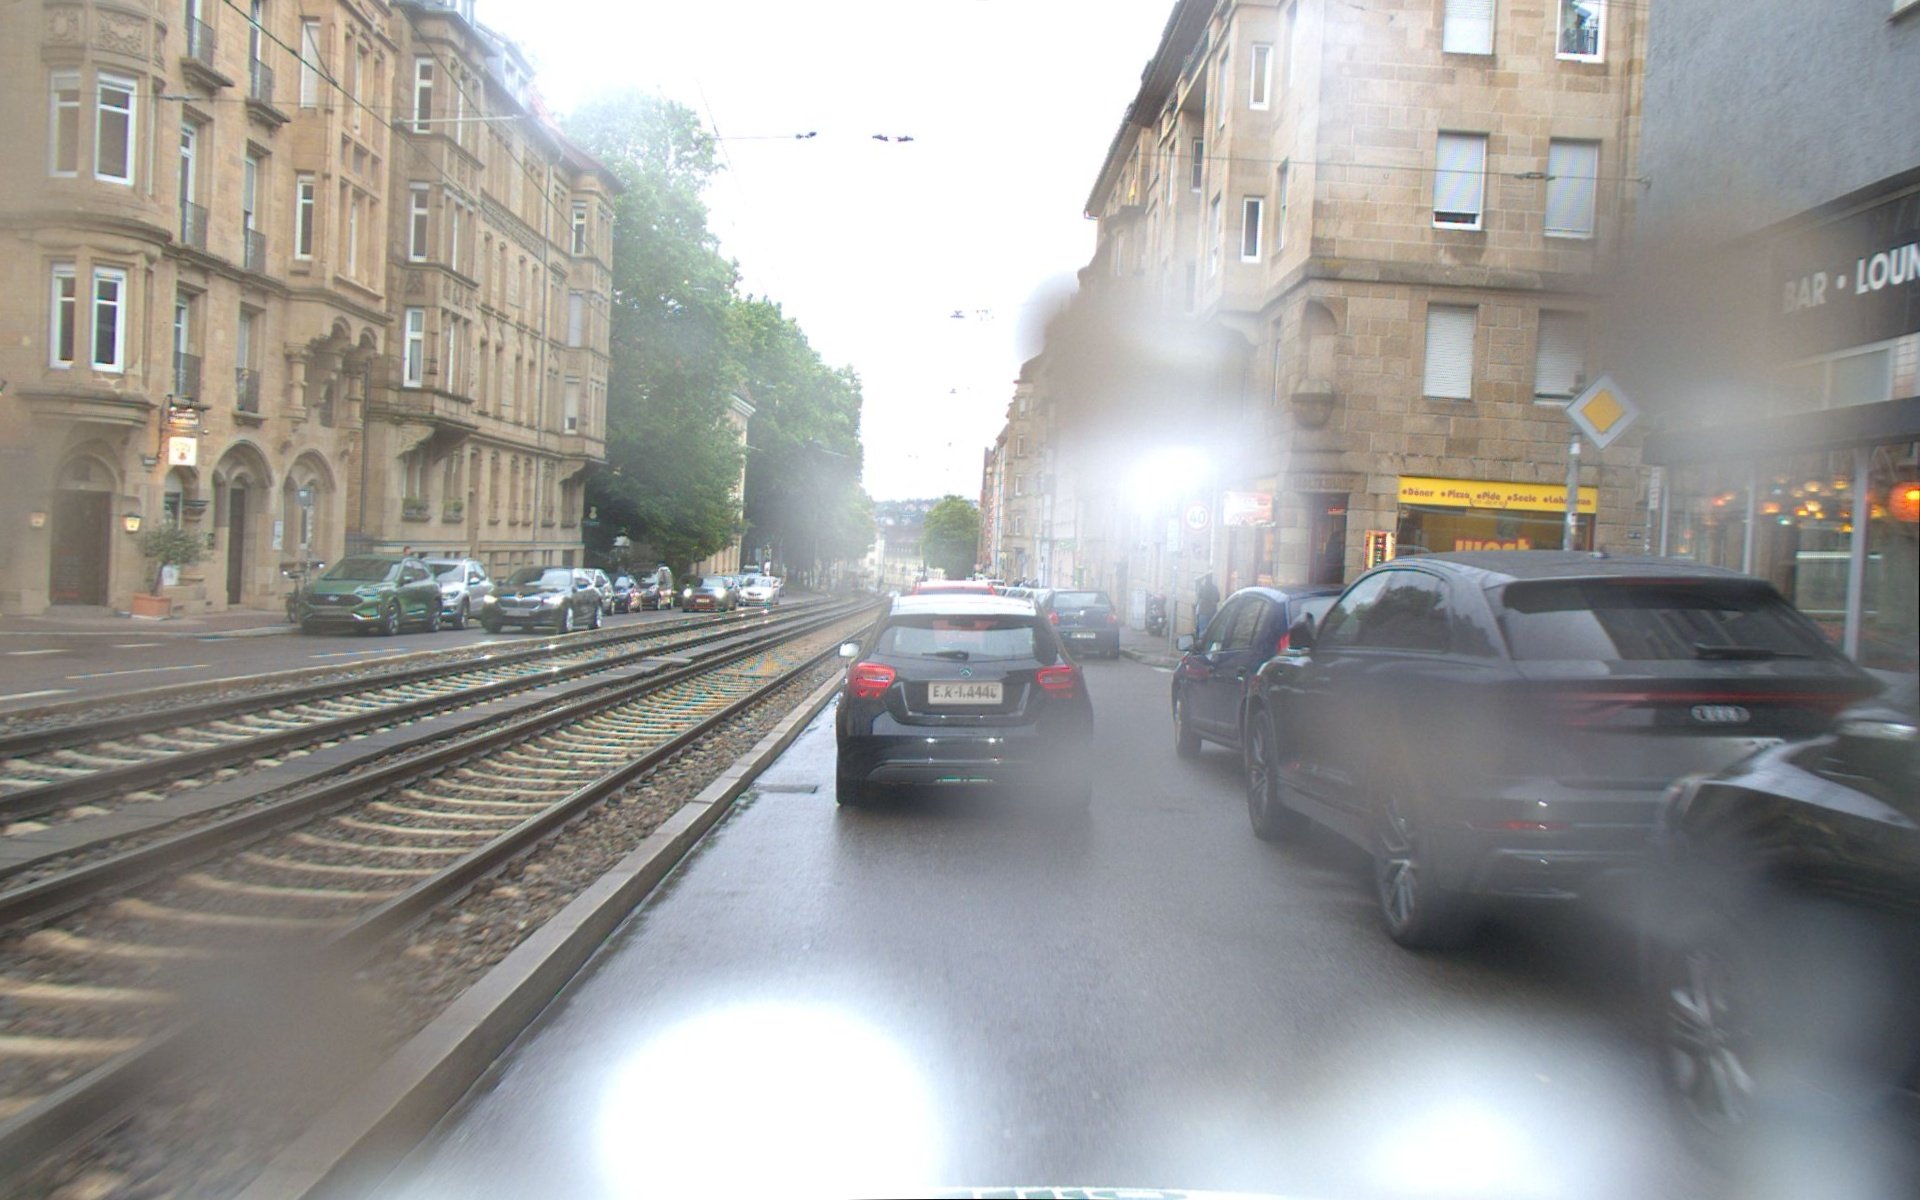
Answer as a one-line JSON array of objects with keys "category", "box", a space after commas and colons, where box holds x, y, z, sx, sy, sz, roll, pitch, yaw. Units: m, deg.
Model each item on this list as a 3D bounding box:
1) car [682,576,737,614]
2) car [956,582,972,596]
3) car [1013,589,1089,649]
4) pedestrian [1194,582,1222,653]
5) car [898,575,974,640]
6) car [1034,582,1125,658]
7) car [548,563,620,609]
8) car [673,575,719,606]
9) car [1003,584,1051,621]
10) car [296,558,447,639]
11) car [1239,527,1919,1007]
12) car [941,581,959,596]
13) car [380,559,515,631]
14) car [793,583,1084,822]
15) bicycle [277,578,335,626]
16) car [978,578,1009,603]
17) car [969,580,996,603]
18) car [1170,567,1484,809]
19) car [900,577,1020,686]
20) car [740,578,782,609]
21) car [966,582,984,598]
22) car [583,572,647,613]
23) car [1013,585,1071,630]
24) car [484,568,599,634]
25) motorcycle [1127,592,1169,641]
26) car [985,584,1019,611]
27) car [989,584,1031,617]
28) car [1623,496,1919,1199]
[{"category": "car", "box": [-9.768, -0.199, 64.733, 1.537, 1.438, 3.482, 1, 1, 1]}, {"category": "car", "box": [0.379, -1.155, 172.183, 1.580, 1.340, 4.000, 1, 1, -1]}, {"category": "car", "box": [2.174, 0.427, 40.491, 1.580, 1.340, 4.000, 1, 1, -1]}, {"category": "pedestrian", "box": [5.279, 0.368, 35.256, 0.445, 1.492, 0.610, 2, 0, -1]}, {"category": "car", "box": [-0.527, 0.134, 37.035, 1.580, 1.340, 4.000, 1, 1, -1]}, {"category": "car", "box": [2.505, 0.378, 35.321, 1.589, 1.510, 4.000, 1, 1, -1]}, {"category": "car", "box": [-12.558, -0.471, 55.356, 1.537, 1.438, 3.482, 1, 1, 1]}, {"category": "car", "box": [-12.655, -0.474, 79.423, 1.537, 1.438, 3.482, 1, 1, 1]}, {"category": "car", "box": [2.494, 0.068, 62.091, 1.580, 1.340, 4.000, 1, 1, -1]}, {"category": "car", "box": [-12.314, -0.049, 34.863, 1.687, 1.568, 3.934, 1, 1, 1]}, {"category": "car", "box": [2.691, 0.578, 8.294, 1.714, 1.699, 4.703, 1, 1, -1]}, {"category": "car", "box": [-0.923, -1.042, 148.950, 1.580, 1.340, 4.000, 1, 1, -1]}, {"category": "car", "box": [-12.354, -0.141, 40.163, 1.769, 1.624, 4.526, 1, 1, 1]}, {"category": "car", "box": [-0.103, 0.628, 12.467, 1.828, 1.477, 4.001, -1, 1, 1]}, {"category": "bicycle", "box": [-14.199, 0.029, 35.942, 0.586, 1.018, 2.077, 1, 1, -5]}, {"category": "car", "box": [1.842, -0.550, 91.590, 1.580, 1.340, 4.000, 1, 1, -1]}, {"category": "car", "box": [1.371, -0.547, 102.798, 1.580, 1.340, 4.000, 1, 1, -1]}, {"category": "car", "box": [2.770, 0.584, 13.341, 1.580, 1.633, 4.000, 1, 1, -1]}, {"category": "car", "box": [-0.034, 0.399, 24.558, 1.616, 1.477, 3.999, 1, 1, -1]}, {"category": "car", "box": [-9.723, -0.329, 80.937, 1.537, 1.438, 3.482, 1, 1, 1]}, {"category": "car", "box": [1.346, -0.909, 148.655, 1.580, 1.340, 4.000, 1, 1, -1]}, {"category": "car", "box": [-12.653, -0.296, 60.807, 1.537, 1.438, 3.482, 1, 1, 1]}, {"category": "car", "box": [2.580, 0.220, 52.629, 1.580, 1.340, 4.000, 1, 1, -1]}, {"category": "car", "box": [-9.463, 0.004, 37.634, 1.660, 1.413, 3.482, 1, 1, 1]}, {"category": "motorcycle", "box": [5.416, 0.449, 47.652, 0.862, 1.338, 2.395, 2, 0, -1]}, {"category": "car", "box": [2.115, -0.133, 84.368, 1.580, 1.340, 4.000, 1, 1, -1]}, {"category": "car", "box": [2.068, 0.003, 69.027, 1.580, 1.340, 4.000, 1, 1, -1]}, {"category": "car", "box": [2.875, 0.649, 2.911, 1.649, 1.699, 4.121, 1, 1, -2]}]
